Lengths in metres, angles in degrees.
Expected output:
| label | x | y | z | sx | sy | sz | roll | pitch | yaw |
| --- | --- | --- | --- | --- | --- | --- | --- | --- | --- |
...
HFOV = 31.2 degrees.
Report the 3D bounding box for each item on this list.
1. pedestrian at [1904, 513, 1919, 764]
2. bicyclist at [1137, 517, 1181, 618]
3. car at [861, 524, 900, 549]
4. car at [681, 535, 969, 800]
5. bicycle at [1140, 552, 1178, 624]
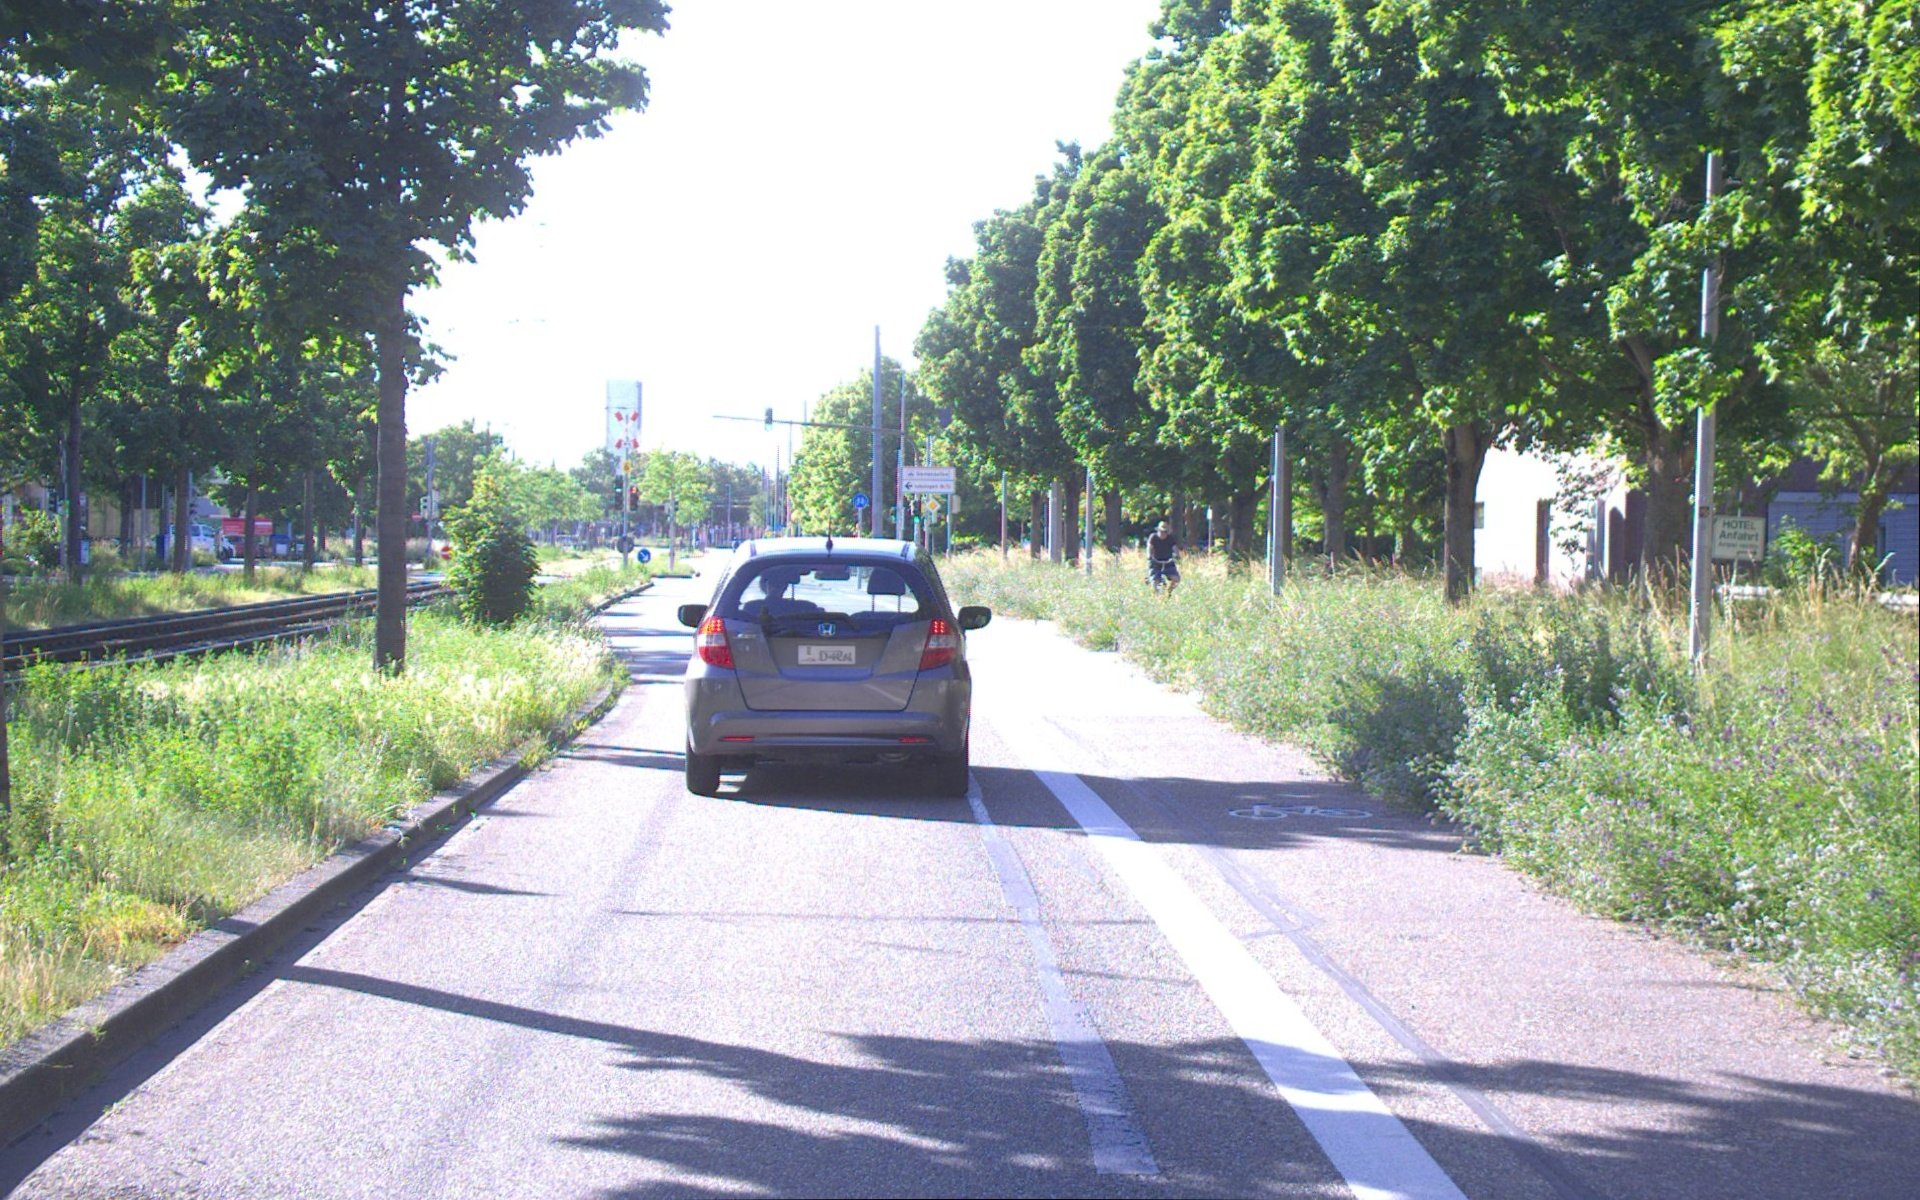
| label | x | y | z | sx | sy | sz | roll | pitch | yaw |
| --- | --- | --- | --- | --- | --- | --- | --- | --- | --- |
| pedestrian | 6.397 | 0.249 | 21.322 | 0.824 | 1.563 | 0.762 | 1 | 1 | 0 |
| bicyclist | 3.421 | -0.565 | 59.263 | 0.683 | 1.714 | 0.902 | 1 | 0 | 0 |
| car | -4.531 | -3.611 | 196.213 | 1.773 | 1.382 | 3.871 | 0 | 1 | -8 |
| car | -0.847 | 0.353 | 21.201 | 1.624 | 1.494 | 3.457 | 0 | 1 | -3 |
| bicycle | 3.424 | -0.195 | 59.267 | 0.483 | 1.200 | 2.143 | 1 | -1 | -1 |
